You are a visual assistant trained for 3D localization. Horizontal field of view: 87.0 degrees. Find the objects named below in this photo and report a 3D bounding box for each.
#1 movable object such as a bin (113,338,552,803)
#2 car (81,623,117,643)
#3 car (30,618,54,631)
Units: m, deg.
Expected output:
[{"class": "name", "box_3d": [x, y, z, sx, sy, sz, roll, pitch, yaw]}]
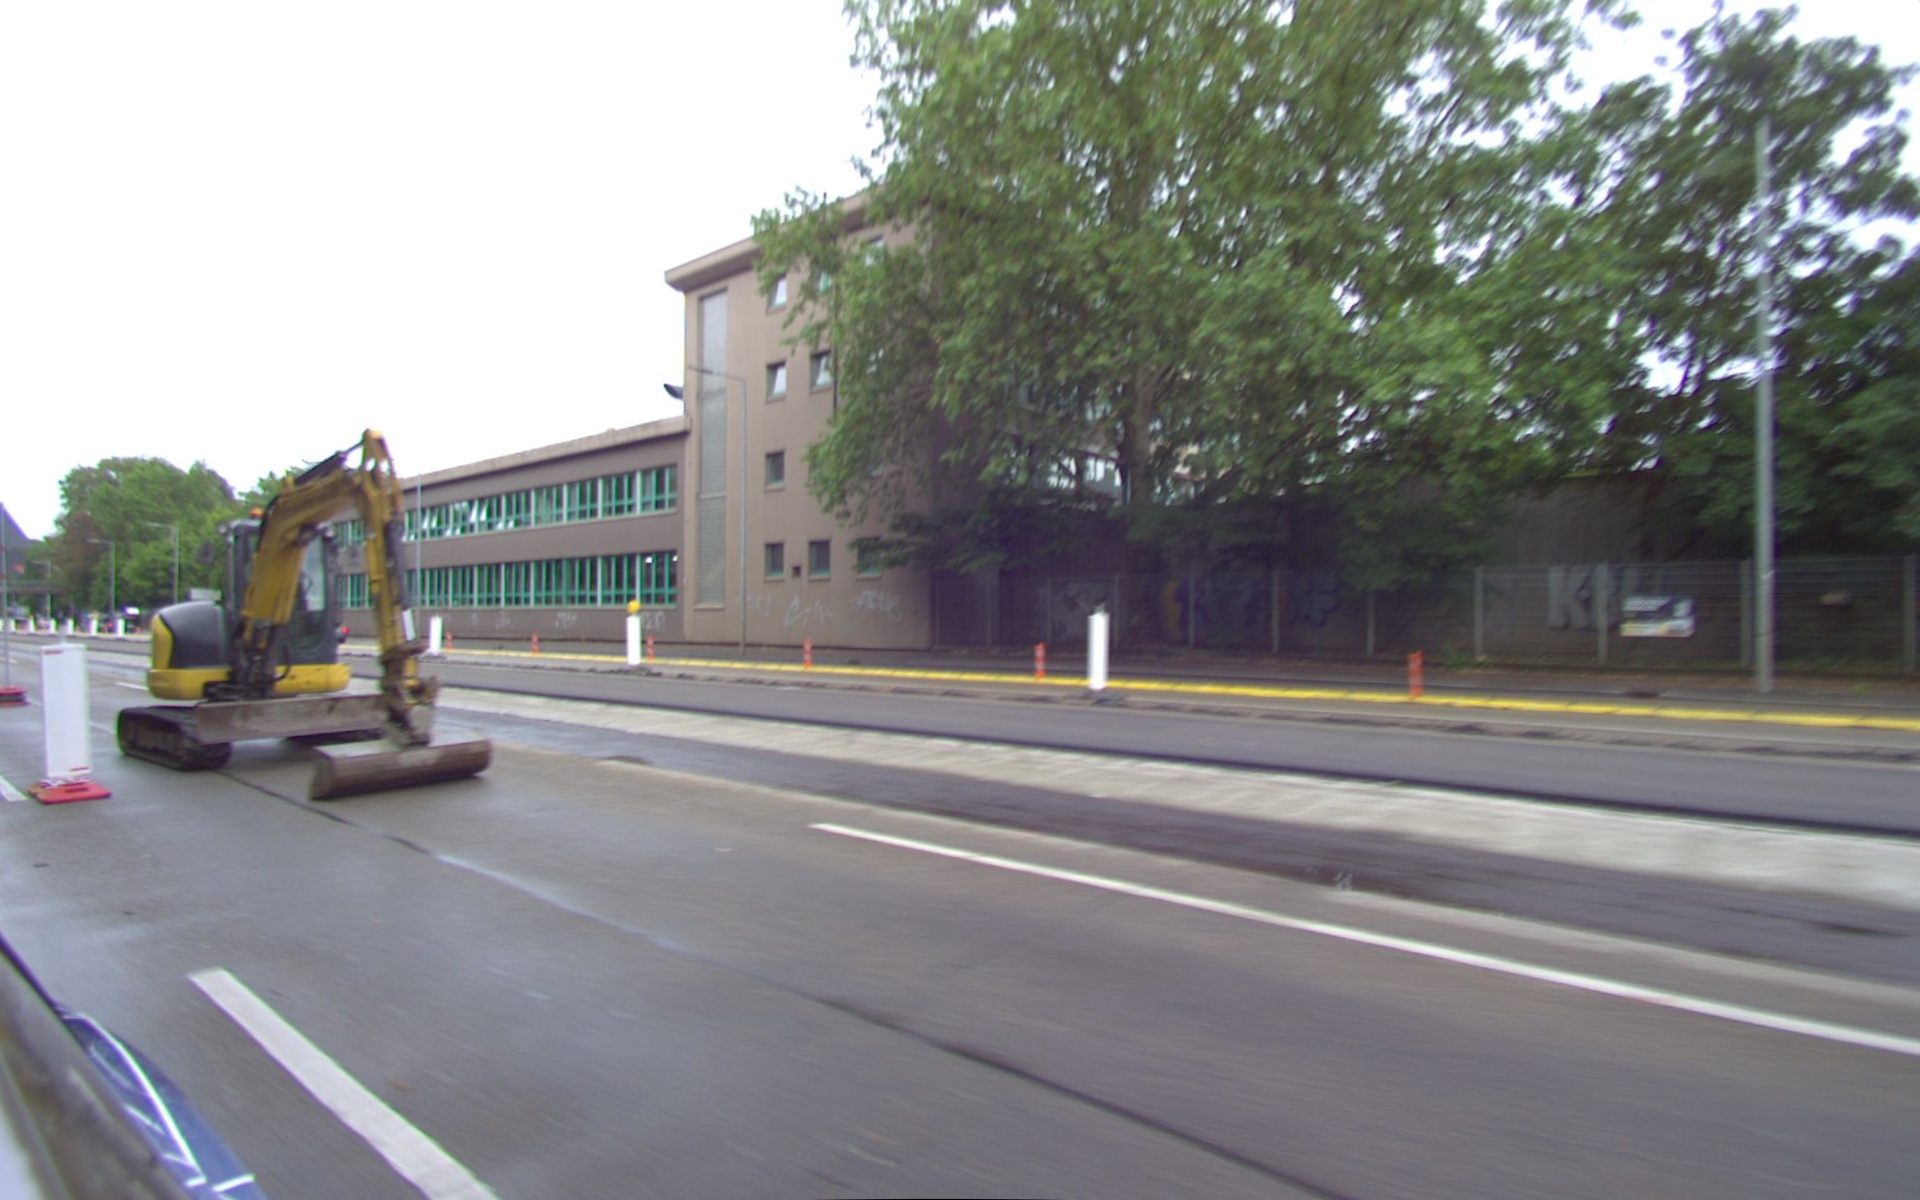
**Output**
[{"class": "movable object such as a bin", "box_3d": [-6.506, -0.182, 10.080, 5.978, 3.393, 1.973, -1, 0, 40]}, {"class": "car", "box_3d": [-81.671, 3.120, 95.966, 4.952, 1.794, 1.972, -1, 0, 42]}, {"class": "car", "box_3d": [-124.422, 3.294, 137.187, 4.177, 1.598, 1.973, -1, 0, 41]}]
